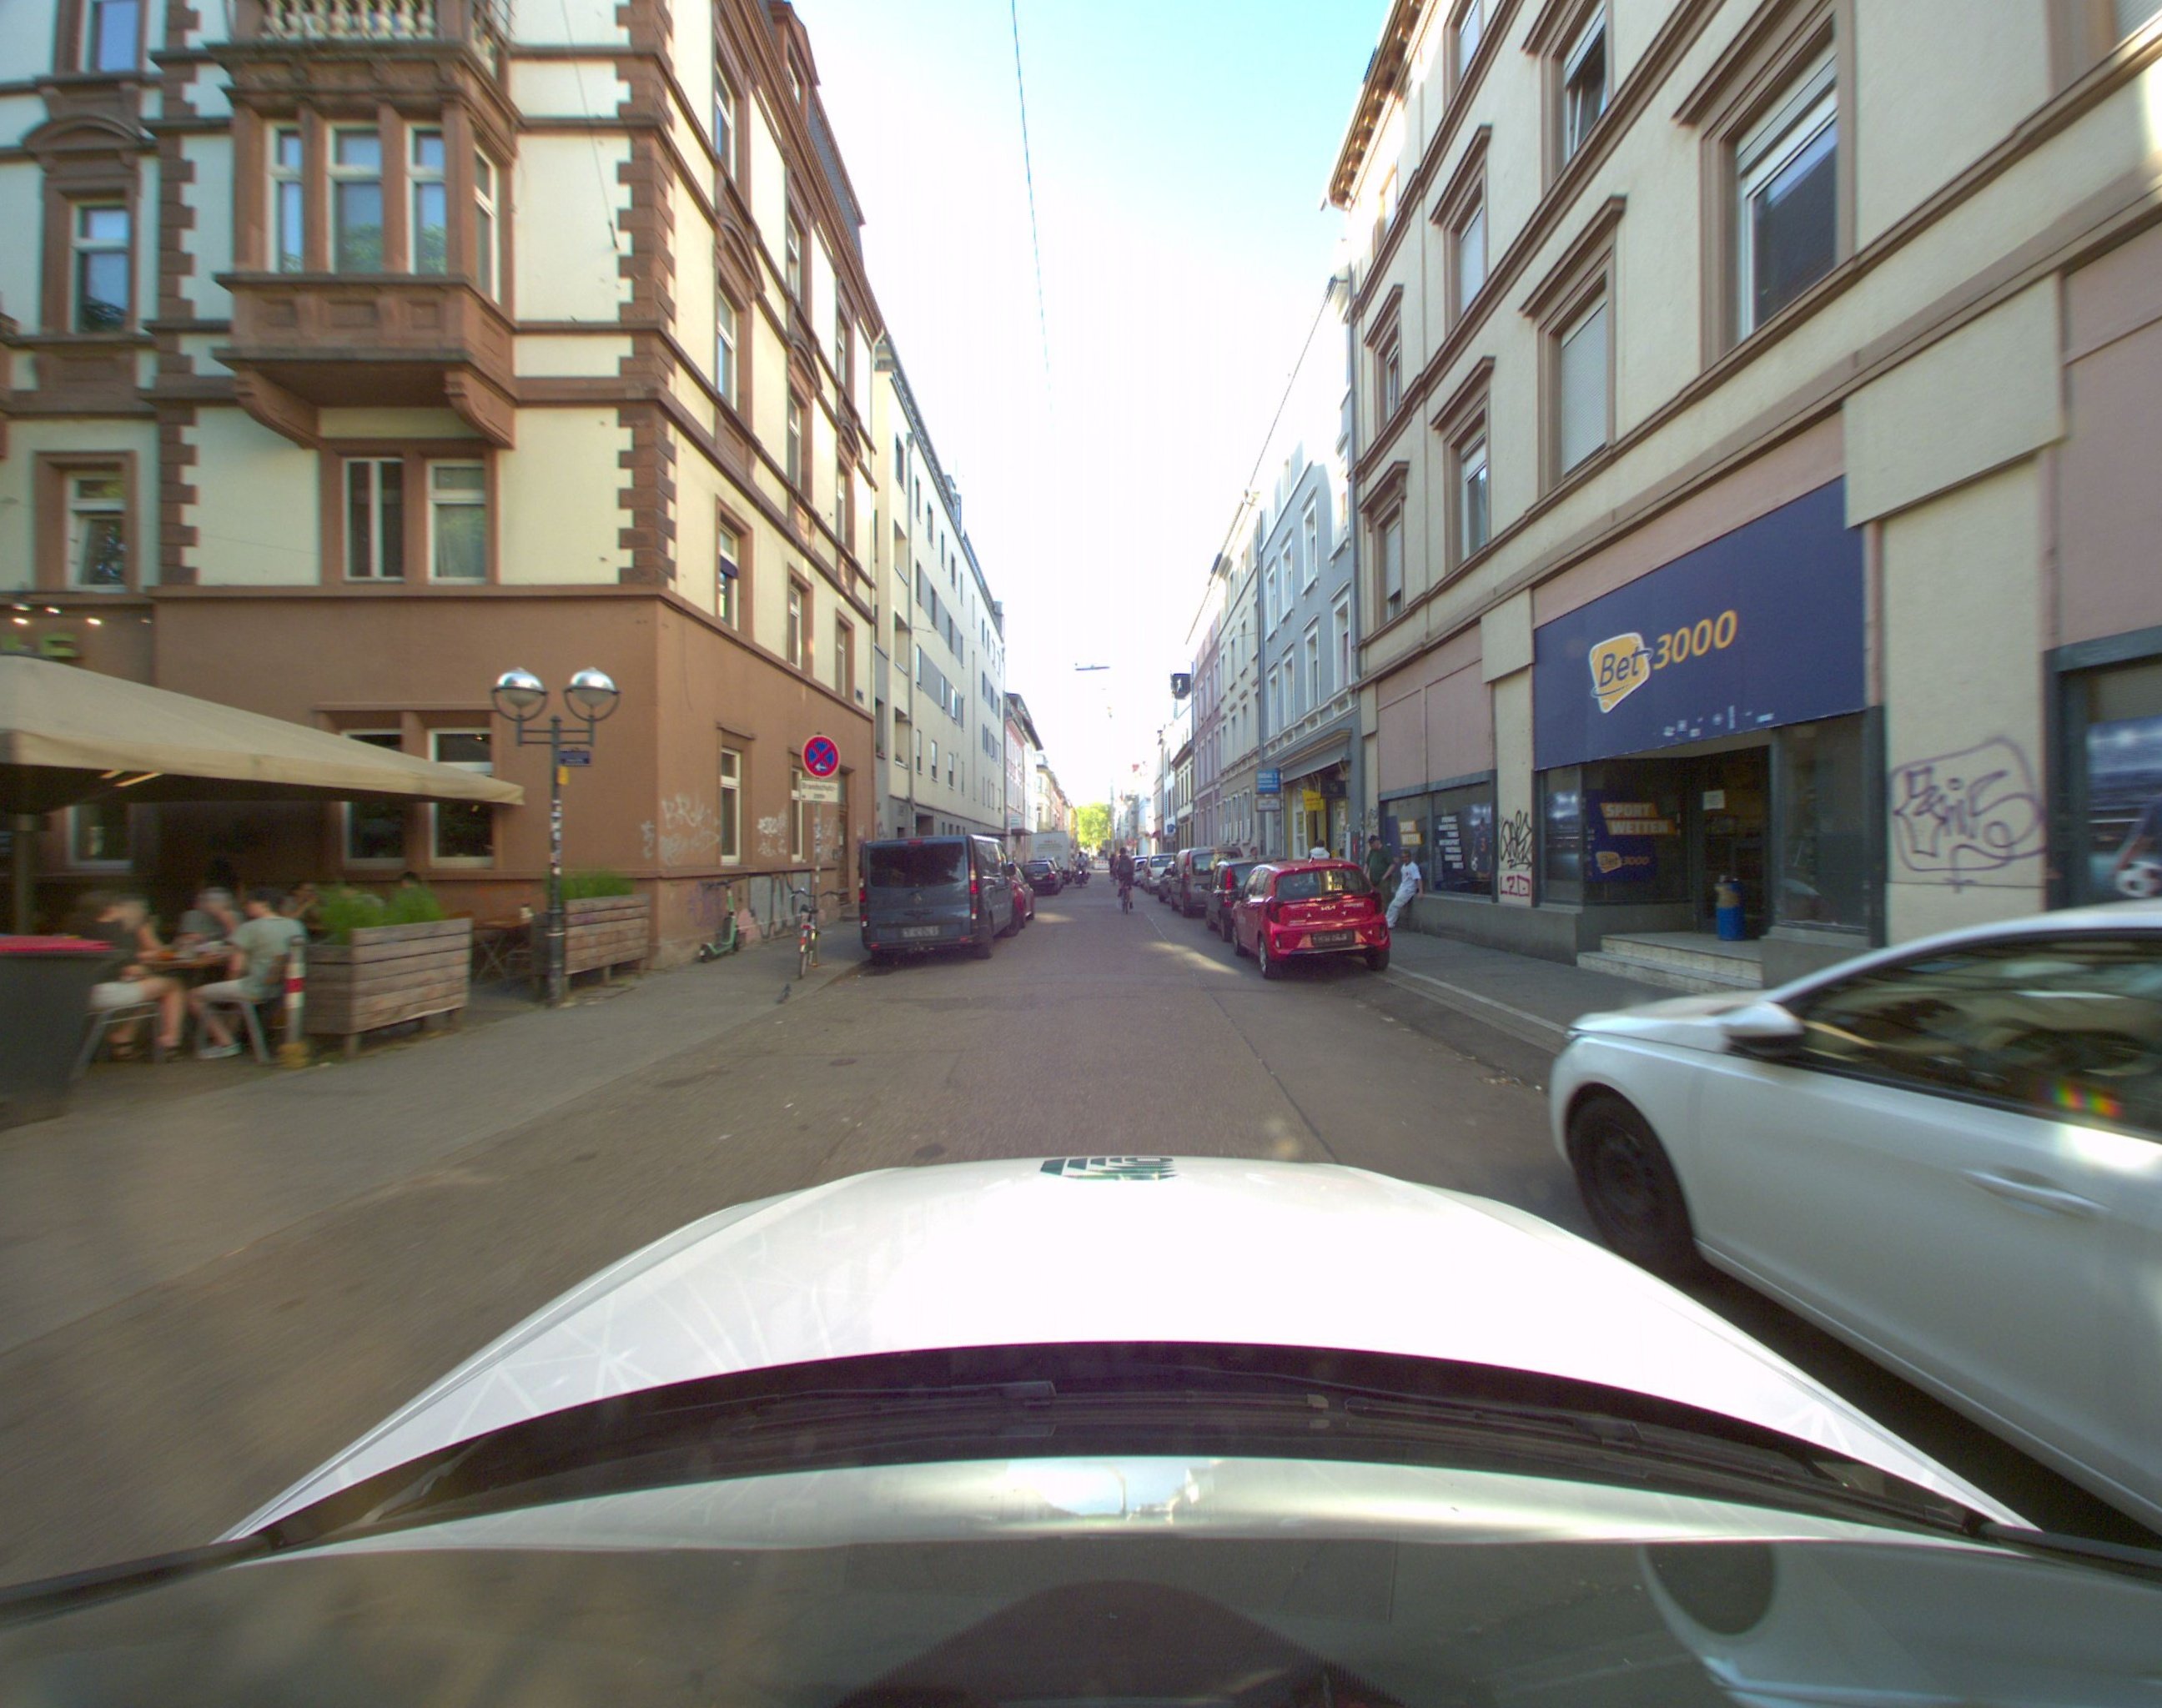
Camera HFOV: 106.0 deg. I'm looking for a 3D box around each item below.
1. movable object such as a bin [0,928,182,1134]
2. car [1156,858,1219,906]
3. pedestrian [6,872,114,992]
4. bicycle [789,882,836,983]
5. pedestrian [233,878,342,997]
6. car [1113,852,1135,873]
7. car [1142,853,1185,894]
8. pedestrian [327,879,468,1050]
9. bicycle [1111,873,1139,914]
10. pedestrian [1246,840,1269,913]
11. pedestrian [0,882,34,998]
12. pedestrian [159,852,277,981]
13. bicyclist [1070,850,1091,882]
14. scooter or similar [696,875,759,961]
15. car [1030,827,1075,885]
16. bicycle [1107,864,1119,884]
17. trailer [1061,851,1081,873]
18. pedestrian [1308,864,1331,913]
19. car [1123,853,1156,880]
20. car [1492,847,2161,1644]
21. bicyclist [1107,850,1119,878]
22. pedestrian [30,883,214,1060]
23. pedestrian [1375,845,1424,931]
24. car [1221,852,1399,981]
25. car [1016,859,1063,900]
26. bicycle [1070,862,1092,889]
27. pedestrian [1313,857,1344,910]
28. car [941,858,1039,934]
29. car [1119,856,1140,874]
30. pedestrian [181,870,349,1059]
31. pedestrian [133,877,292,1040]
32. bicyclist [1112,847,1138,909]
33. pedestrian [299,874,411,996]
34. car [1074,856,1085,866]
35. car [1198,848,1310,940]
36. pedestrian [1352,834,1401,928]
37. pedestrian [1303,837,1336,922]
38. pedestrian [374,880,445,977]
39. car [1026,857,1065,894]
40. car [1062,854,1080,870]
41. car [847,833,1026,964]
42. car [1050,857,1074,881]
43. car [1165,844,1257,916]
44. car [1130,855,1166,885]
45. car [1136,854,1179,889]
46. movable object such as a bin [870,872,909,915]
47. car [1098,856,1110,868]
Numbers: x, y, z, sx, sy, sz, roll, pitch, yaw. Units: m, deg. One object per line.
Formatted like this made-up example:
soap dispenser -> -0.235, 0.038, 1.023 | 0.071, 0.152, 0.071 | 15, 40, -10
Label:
movable object such as a bin -> -6.347, 1.026, 4.951 | 0.866, 1.086, 0.774 | 0, -1, 1
car -> 3.517, 0.892, 27.483 | 1.548, 1.511, 3.609 | 0, -1, -2
pedestrian -> -12.222, 0.908, 9.765 | 0.470, 1.362, 0.622 | -1, 0, 1
bicycle -> -3.684, 1.020, 11.270 | 0.551, 1.216, 1.977 | 0, -1, -16
pedestrian -> -9.656, 0.994, 9.932 | 0.615, 1.361, 0.692 | -1, 0, 1
car -> 4.105, 0.802, 78.245 | 1.745, 1.879, 3.970 | -2, -1, -2
car -> 3.552, 0.838, 35.566 | 1.551, 1.712, 3.558 | 0, -1, 0
pedestrian -> -6.058, 0.949, 7.254 | 0.703, 1.445, 0.617 | 0, -1, -1
bicycle -> 1.209, 1.066, 22.455 | 0.675, 1.074, 1.941 | 0, -1, 0
pedestrian -> 4.192, 0.526, 19.375 | 0.439, 1.704, 0.655 | 0, -1, 1
pedestrian -> -13.480, 1.064, 9.827 | 0.675, 1.392, 0.750 | -1, 0, 1
pedestrian -> -10.876, 0.758, 10.290 | 0.675, 1.562, 0.750 | -1, -1, 1
bicyclist -> -0.016, 0.613, 41.924 | 0.946, 1.628, 0.953 | -3, 0, 2
scooter or similar -> -5.399, 0.946, 12.498 | 0.346, 1.216, 1.391 | 0, -1, 0
car -> -1.725, 0.163, 51.986 | 2.335, 3.291, 7.156 | -3, -1, 1
bicycle -> 1.827, 1.136, 46.576 | 0.646, 1.129, 2.136 | 0, -1, 1
trailer -> -0.984, 0.788, 81.538 | 1.875, 2.092, 3.737 | -2, -1, 0
pedestrian -> 6.007, 0.860, 20.543 | 0.436, 1.222, 0.515 | 0, -1, 2
car -> 3.894, 0.815, 54.432 | 1.911, 1.706, 4.366 | -1, 0, 0
car -> 2.942, 0.752, 1.930 | 1.782, 1.516, 4.134 | 0, -1, -1
bicyclist -> 1.814, 0.582, 46.559 | 0.669, 1.567, 0.716 | 0, -1, -1
pedestrian -> -7.658, 0.910, 6.538 | 0.703, 1.331, 0.617 | 0, -1, -1
pedestrian -> 5.771, 0.604, 14.779 | 0.586, 1.530, 0.658 | 0, -1, -5
car -> 3.109, 0.791, 11.741 | 1.601, 1.572, 3.553 | 0, -1, 1
car -> -1.749, 1.067, 35.706 | 1.711, 1.478, 4.499 | -4, 1, 0
bicycle -> 0.020, 1.082, 42.194 | 0.974, 1.314, 2.556 | -2, 0, 2
pedestrian -> 5.821, 0.673, 19.140 | 0.525, 1.222, 0.518 | -1, -1, 40
car -> -2.051, 0.923, 19.404 | 1.745, 1.522, 3.869 | -4, -1, 1
car -> 4.360, 0.984, 73.178 | 1.743, 1.487, 3.801 | -2, -1, 2
pedestrian -> -6.577, 0.859, 6.596 | 0.703, 1.445, 0.617 | 0, -1, -1
pedestrian -> -7.665, 0.895, 7.218 | 0.703, 1.375, 0.617 | 0, -1, -1
bicyclist -> 1.202, 0.653, 22.457 | 0.665, 1.677, 1.097 | 0, -1, 0
pedestrian -> -8.620, 0.939, 9.699 | 0.675, 1.361, 0.692 | -1, 0, 1
car -> -0.170, 1.173, 134.996 | 1.744, 1.683, 3.796 | -2, -1, 0
car -> 3.333, 0.738, 16.231 | 1.563, 1.557, 3.316 | -4, -1, 3
pedestrian -> 5.623, 0.511, 15.519 | 0.629, 1.740, 0.656 | 0, -1, -12
pedestrian -> 4.923, 0.524, 16.822 | 0.559, 1.740, 0.427 | 0, -1, -2
pedestrian -> -8.592, 0.940, 10.436 | 0.441, 1.186, 0.421 | 4, -3, 1
car -> -1.756, 1.059, 41.562 | 1.711, 1.650, 4.245 | -4, 1, 0
car -> -1.014, 0.876, 85.786 | 1.744, 1.573, 3.796 | -2, -1, 0
car -> -2.263, 0.628, 14.396 | 2.012, 1.879, 5.299 | 0, 0, 2
car -> -1.532, 1.224, 66.142 | 1.747, 1.816, 4.077 | -3, -1, 0
car -> 3.463, 0.681, 22.439 | 1.893, 1.793, 4.314 | 0, -1, 0
car -> 3.793, 0.915, 46.482 | 1.681, 1.543, 4.046 | -3, -1, 0
car -> 3.796, 0.860, 40.897 | 1.691, 1.543, 4.628 | -3, -1, 0
movable object such as a bin -> -4.965, 1.016, 21.129 | 0.752, 1.067, 0.655 | 0, -1, 20
car -> 3.092, 1.130, 111.817 | 1.606, 1.560, 3.610 | 0, -1, 1
